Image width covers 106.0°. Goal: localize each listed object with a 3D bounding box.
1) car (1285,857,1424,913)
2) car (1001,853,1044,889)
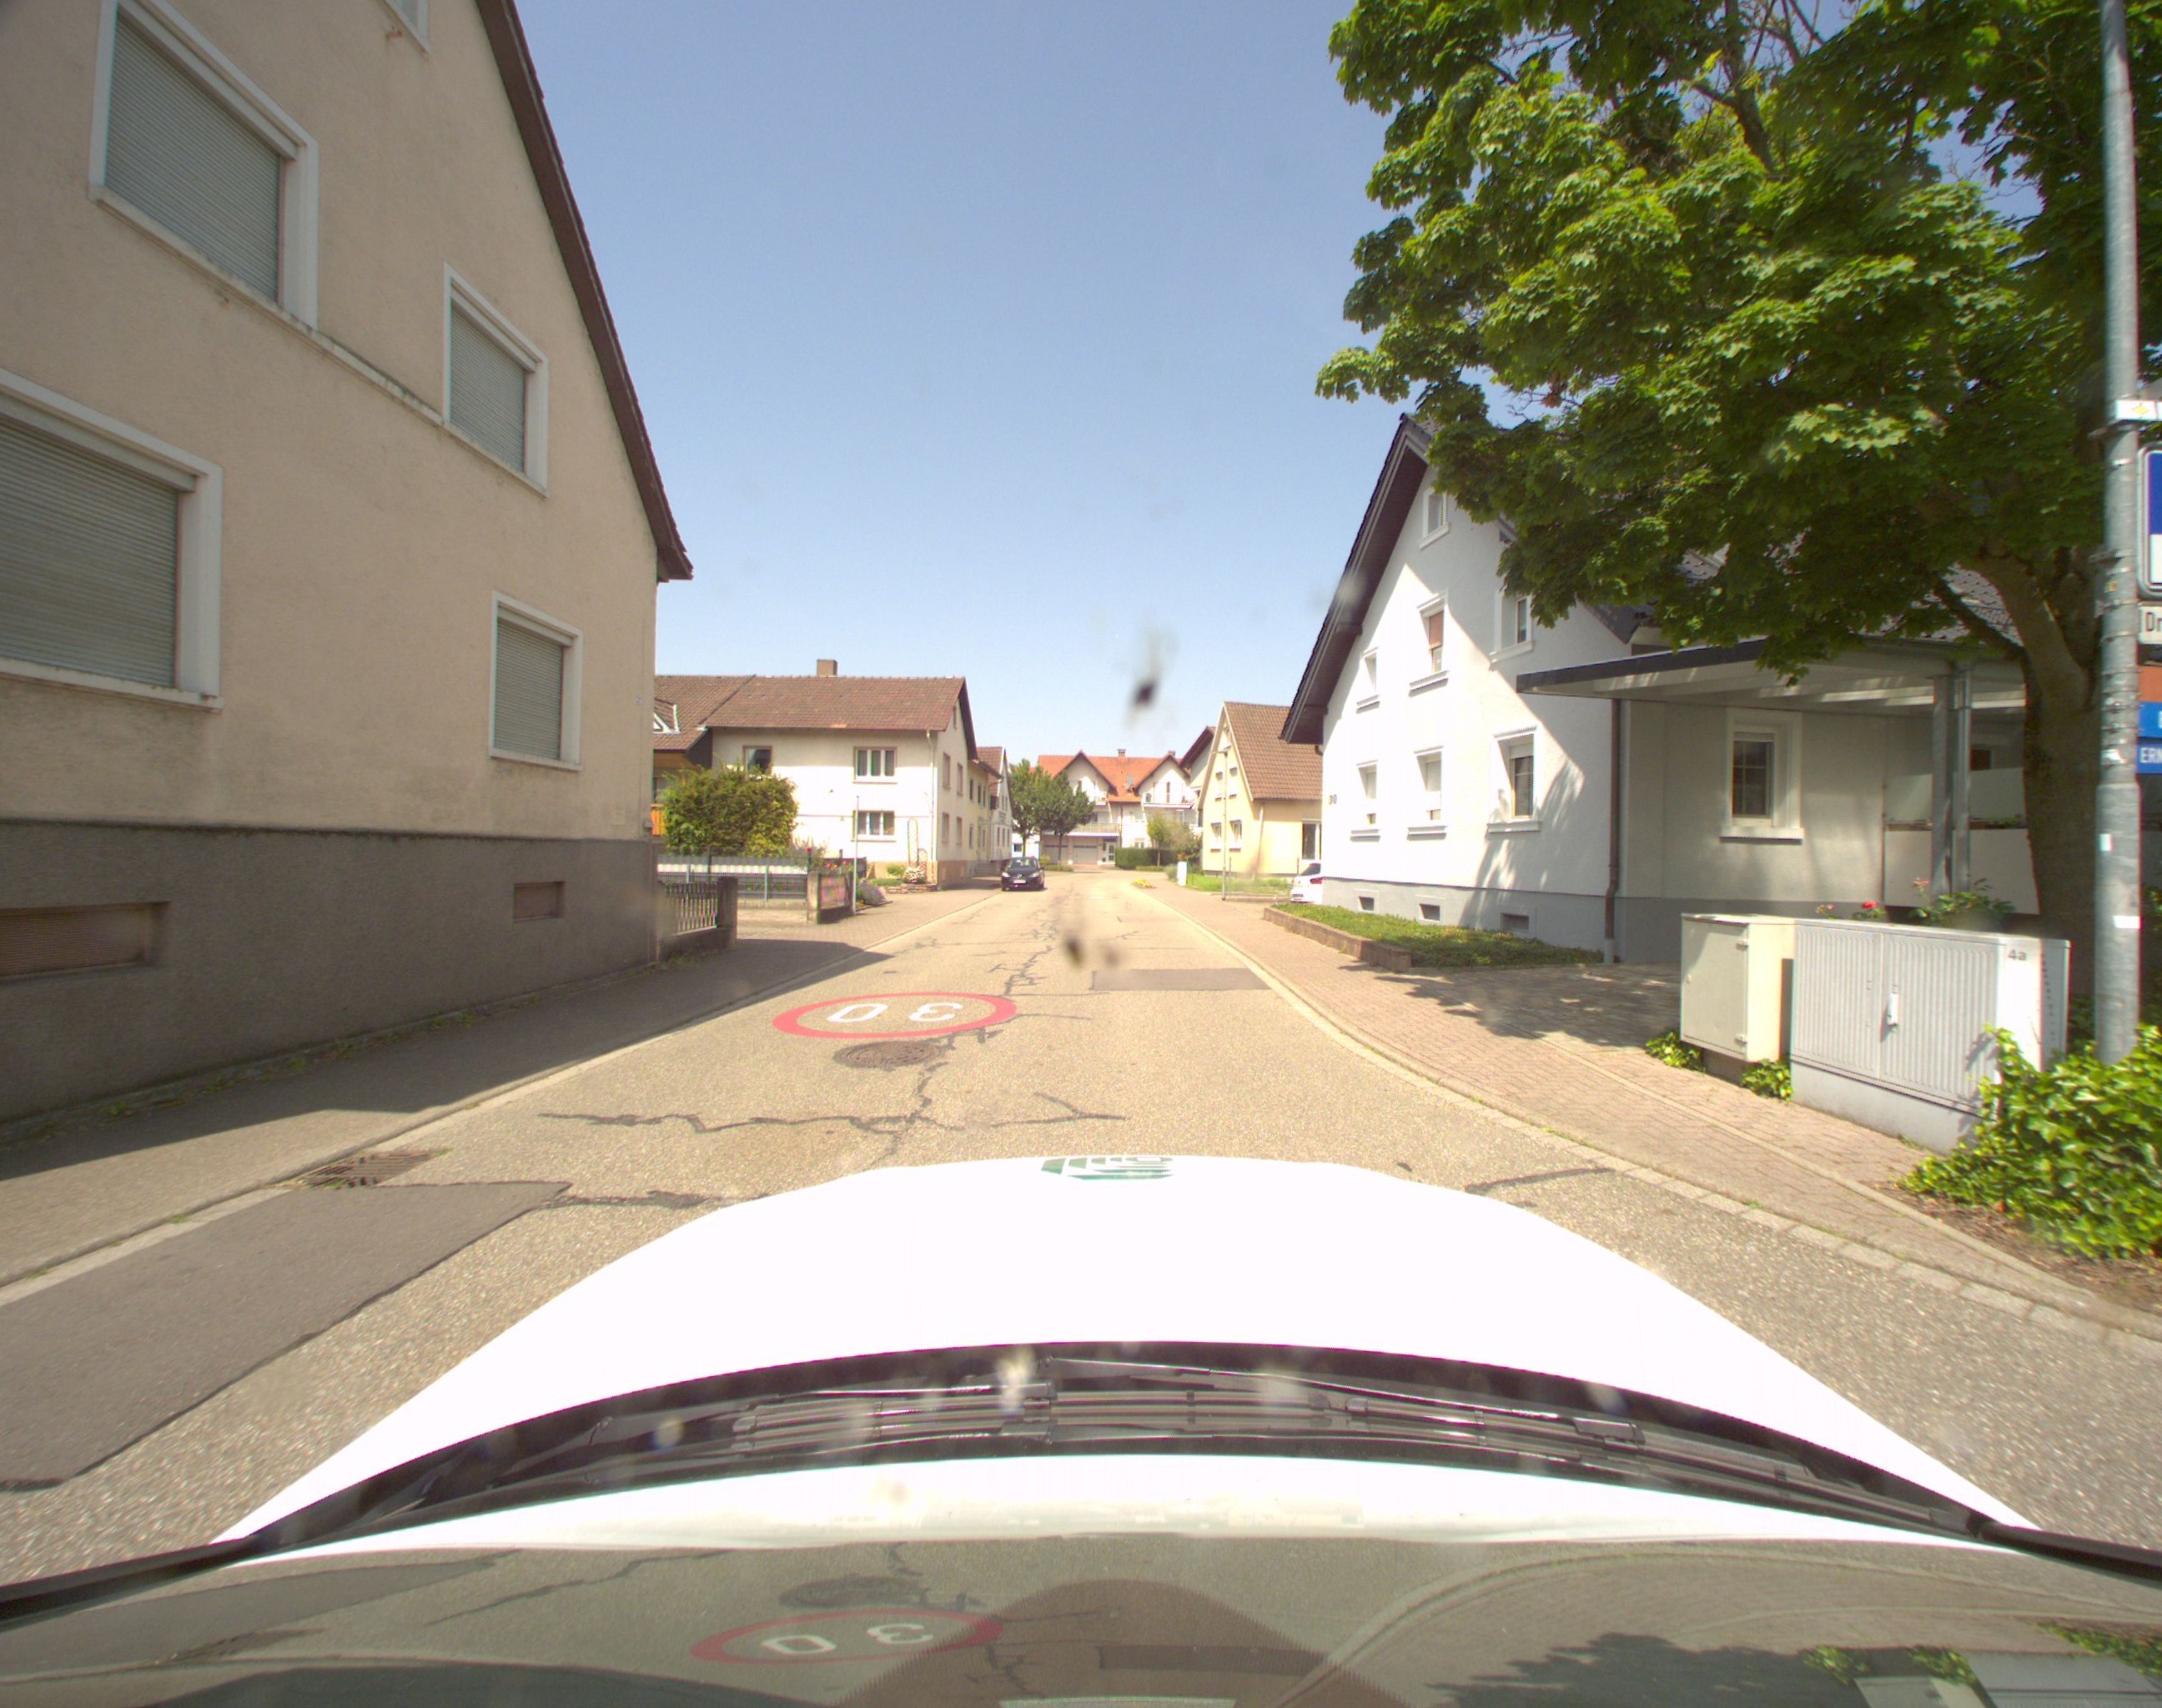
[{"bbox_3d":[6.871,0.763,20.610,3.039,1.345,1.419,0,-1,-7],"label":"car"},{"bbox_3d":[-2.522,0.715,35.992,1.621,1.486,3.999,0,0,-1],"label":"car"}]
